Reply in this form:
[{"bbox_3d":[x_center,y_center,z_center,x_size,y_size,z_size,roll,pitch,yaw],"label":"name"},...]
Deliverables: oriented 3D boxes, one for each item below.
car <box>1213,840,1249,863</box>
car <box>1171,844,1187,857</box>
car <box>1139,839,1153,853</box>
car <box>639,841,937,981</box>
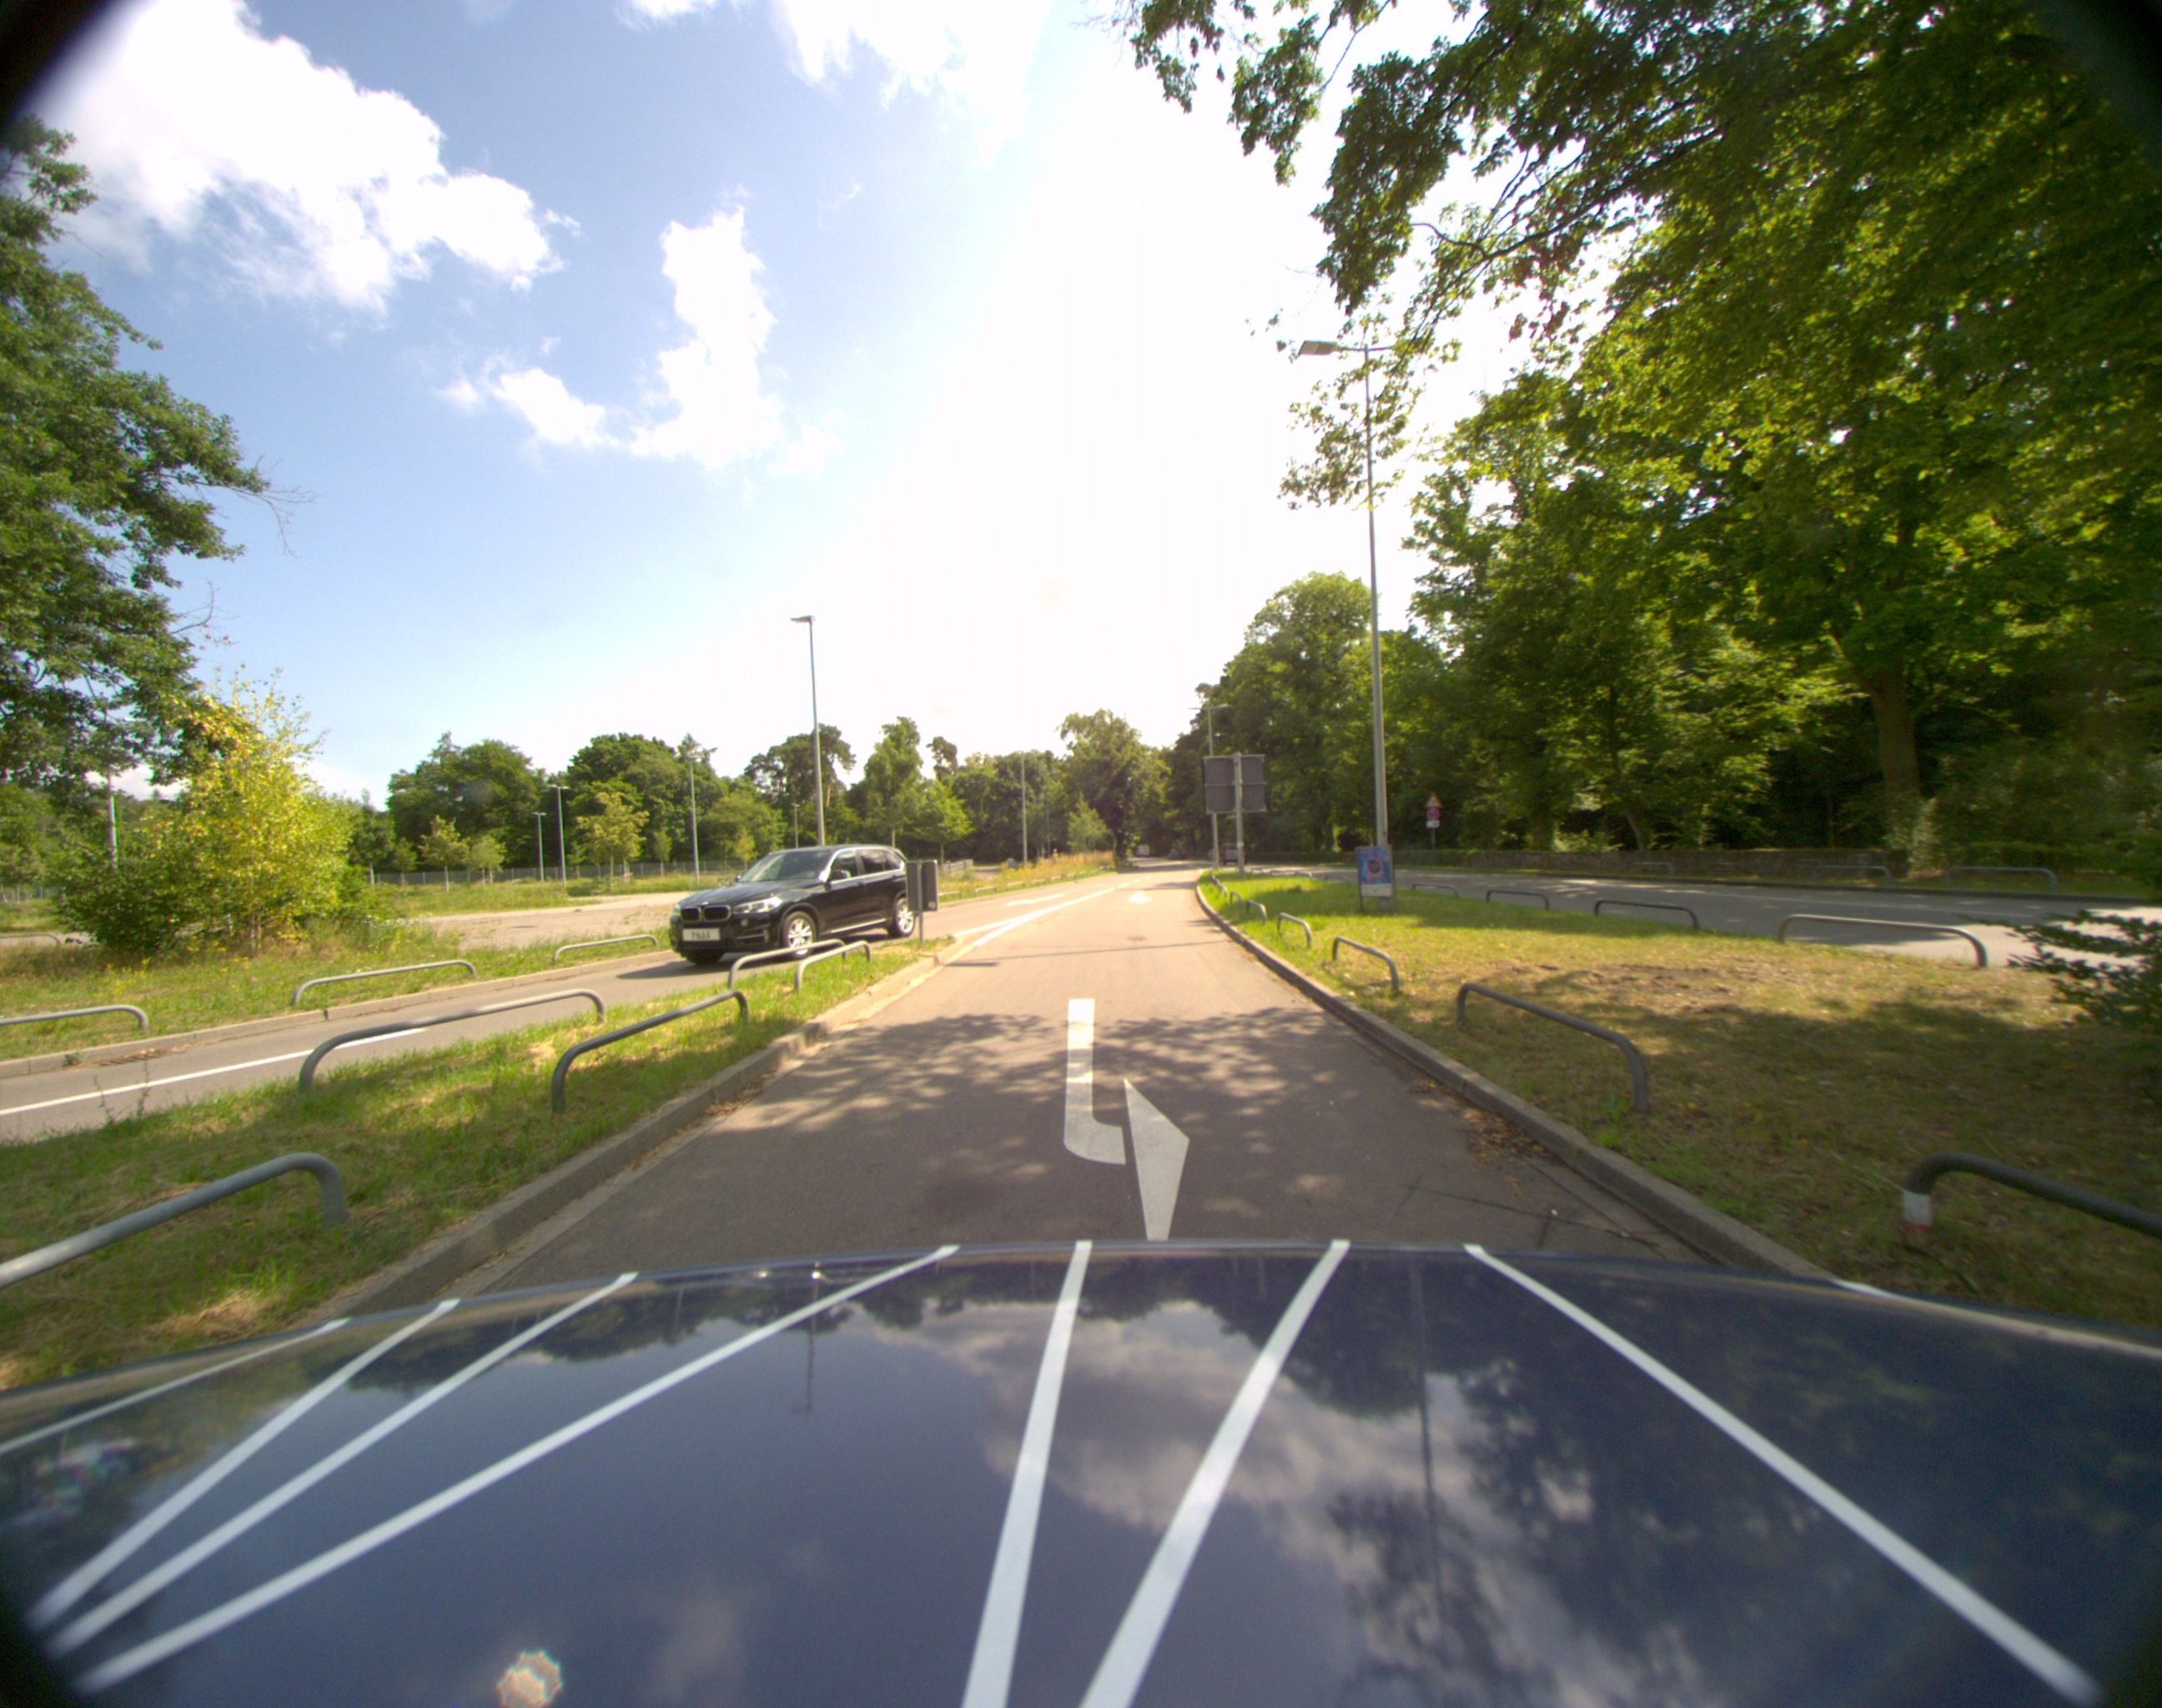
[{"bbox_3d":[11.678,-0.202,59.436,1.765,1.620,4.298,-4,0,-1],"label":"car"},{"bbox_3d":[12.199,-0.432,94.871,1.698,1.438,4.067,-3,2,4],"label":"car"},{"bbox_3d":[12.193,-1.552,142.725,1.980,2.417,5.360,-4,2,-2],"label":"car"},{"bbox_3d":[-4.479,0.762,12.623,1.977,1.755,4.712,-2,2,18],"label":"car"}]
